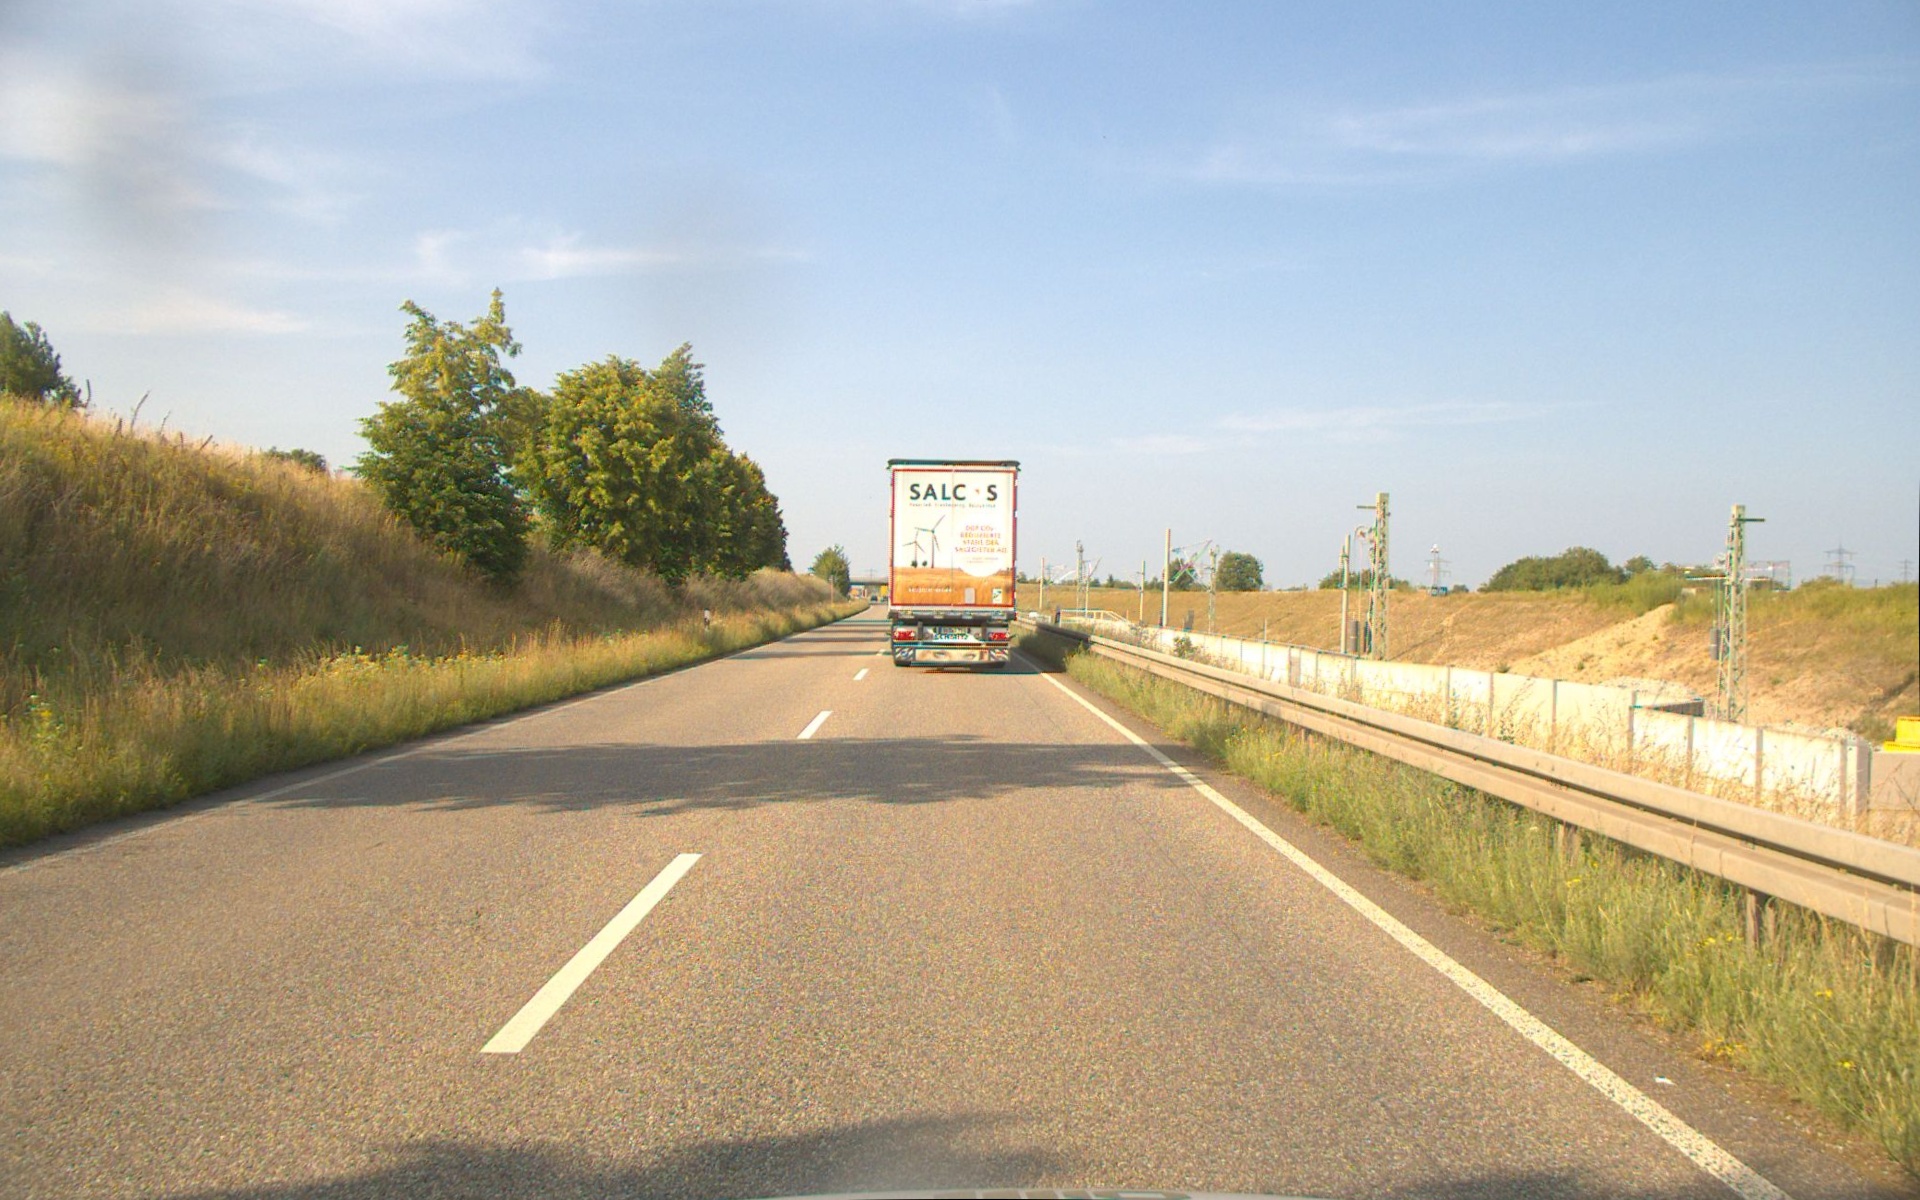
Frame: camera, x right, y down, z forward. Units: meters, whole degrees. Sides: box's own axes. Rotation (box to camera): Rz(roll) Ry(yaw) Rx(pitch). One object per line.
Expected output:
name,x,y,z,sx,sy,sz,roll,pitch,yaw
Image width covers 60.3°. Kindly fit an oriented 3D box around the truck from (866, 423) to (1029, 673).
truck,-0.227,-1.031,35.904,3.088,4.770,8.441,0,0,0
